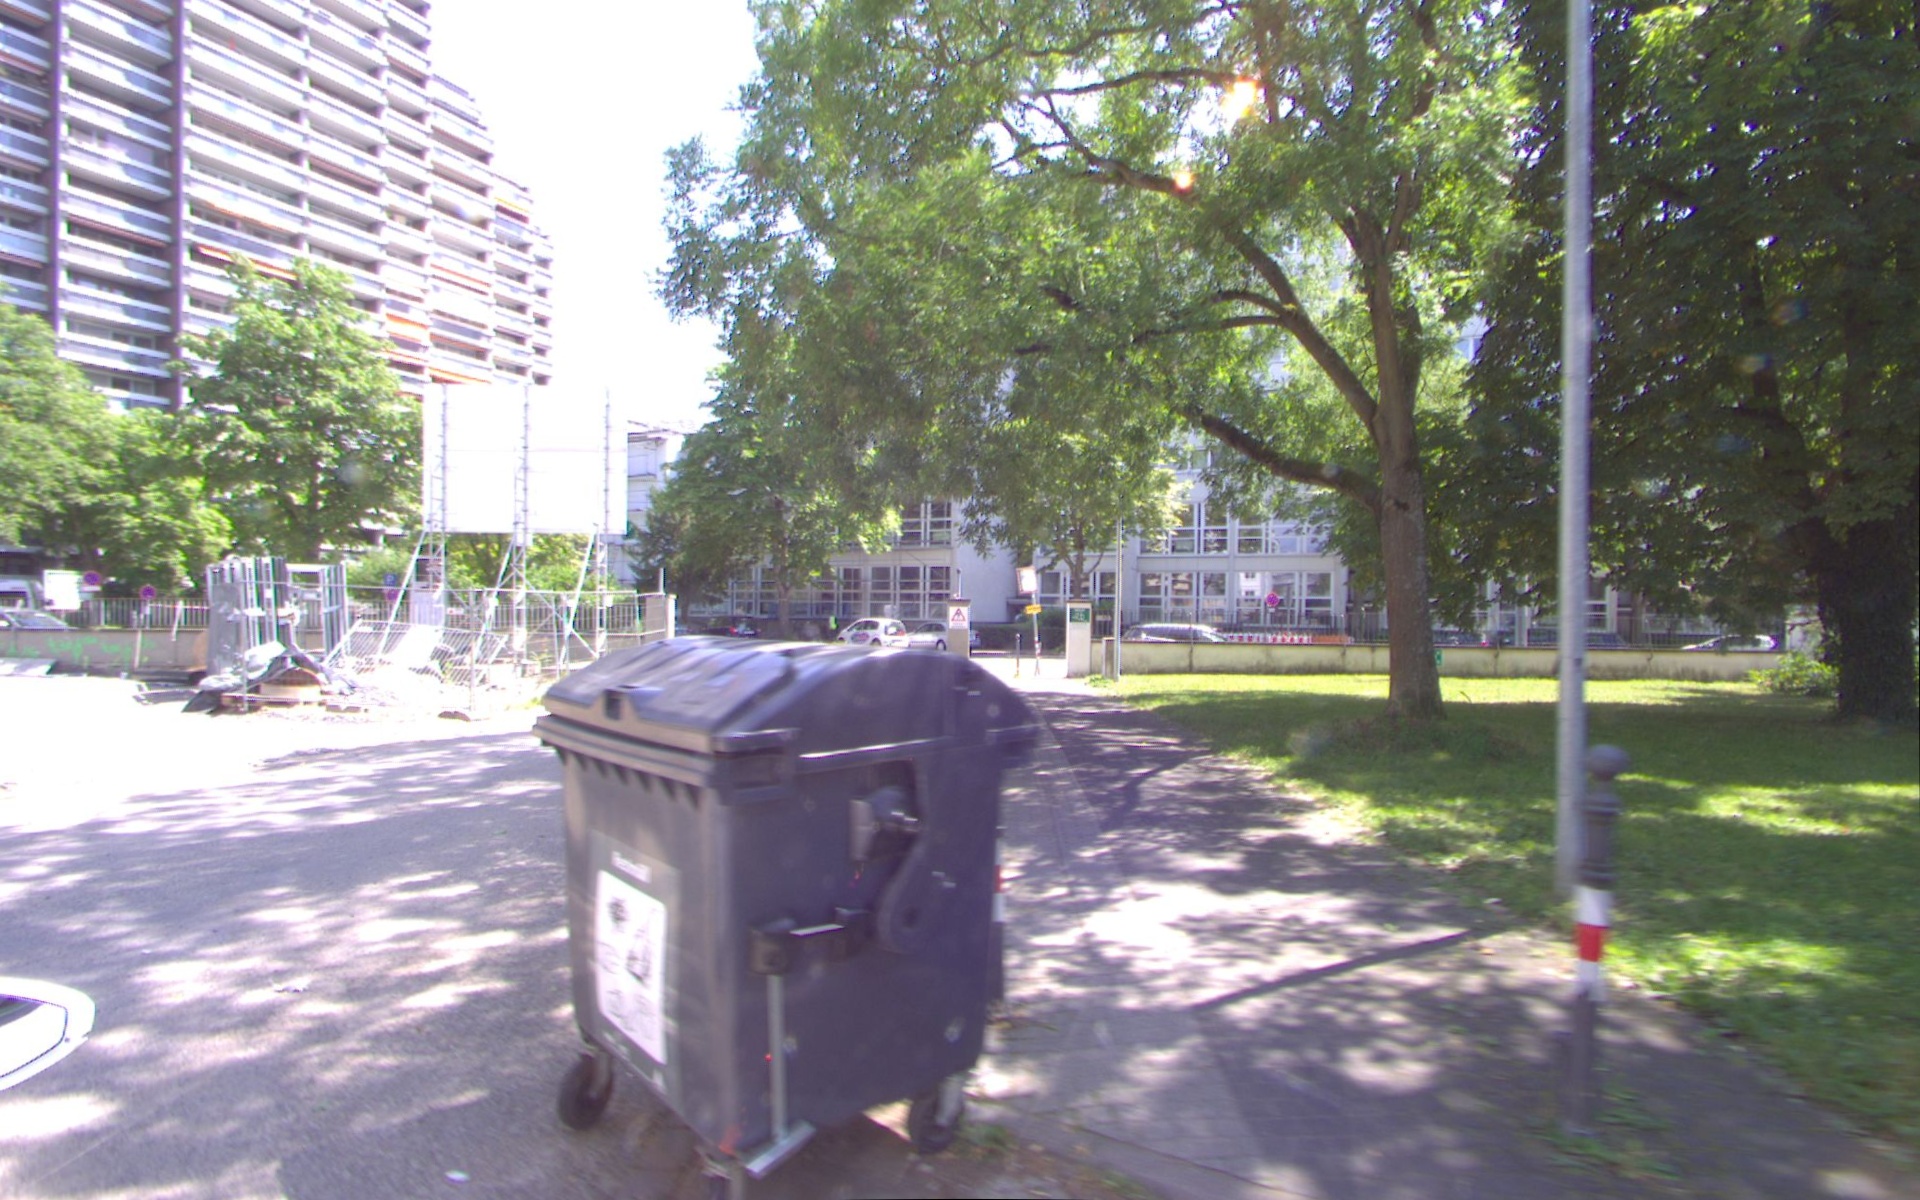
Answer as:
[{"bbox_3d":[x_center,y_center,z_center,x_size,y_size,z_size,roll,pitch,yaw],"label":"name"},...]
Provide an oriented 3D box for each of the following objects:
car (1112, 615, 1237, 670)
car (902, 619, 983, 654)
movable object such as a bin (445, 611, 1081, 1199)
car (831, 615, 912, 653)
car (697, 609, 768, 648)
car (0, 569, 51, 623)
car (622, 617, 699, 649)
[{"bbox_3d":[6.110,1.198,28.745,3.267,1.498,1.433,0,0,0],"label":"car"},{"bbox_3d":[-0.817,1.603,44.676,1.652,1.434,3.677,1,-1,-42],"label":"car"},{"bbox_3d":[-0.503,0.777,2.767,1.356,1.477,1.074,0,0,30],"label":"movable object such as a bin"},{"bbox_3d":[-3.995,1.494,44.977,3.654,1.610,1.654,0,-1,44],"label":"car"},{"bbox_3d":[-10.227,1.249,44.886,1.990,1.651,3.909,1,-1,-31],"label":"car"},{"bbox_3d":[-41.984,-0.128,44.459,2.167,2.287,4.828,1,-1,-39],"label":"car"},{"bbox_3d":[-13.348,1.444,44.500,1.899,1.327,3.898,1,-1,-39],"label":"car"}]
